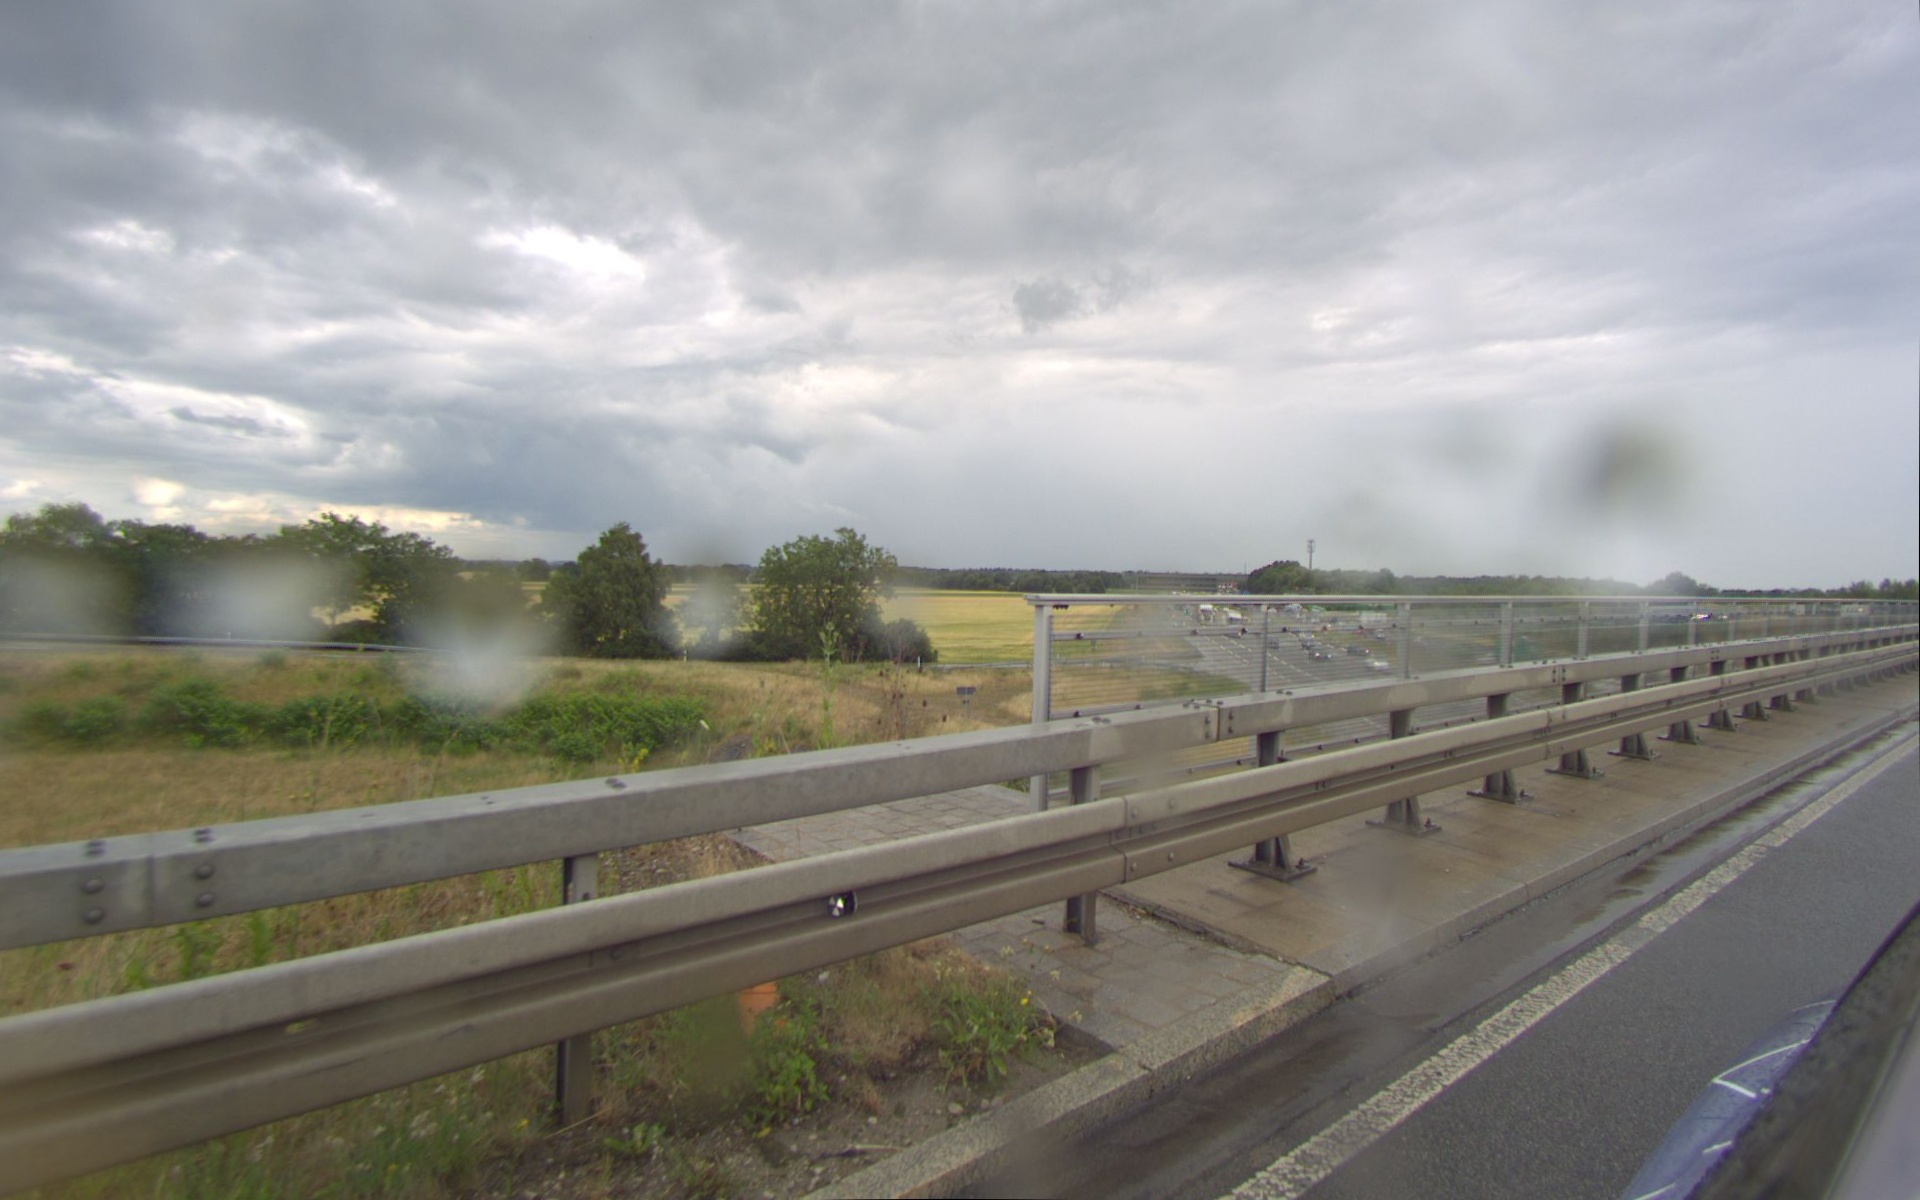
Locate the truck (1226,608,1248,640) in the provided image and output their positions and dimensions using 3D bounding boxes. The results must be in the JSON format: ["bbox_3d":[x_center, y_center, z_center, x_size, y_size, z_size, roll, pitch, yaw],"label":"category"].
[{"bbox_3d":[46.244,3.900,169.177,2.751,4.961,12.709,0,0,12],"label":"truck"}]

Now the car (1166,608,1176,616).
[{"bbox_3d":[44.898,2.596,215.095,1.826,1.690,4.712,0,0,9],"label":"car"}]

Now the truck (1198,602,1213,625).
[{"bbox_3d":[52.273,2.750,215.679,2.751,4.676,12.709,0,0,12],"label":"truck"}]

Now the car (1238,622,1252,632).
[{"bbox_3d":[50.996,4.767,180.927,1.826,1.690,4.712,0,0,9],"label":"car"}]

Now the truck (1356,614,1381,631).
[{"bbox_3d":[76.728,4.168,190.269,2.176,3.003,9.284,0,0,9],"label":"truck"}]

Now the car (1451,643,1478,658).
[{"bbox_3d":[66.042,6.566,132.512,1.826,1.690,4.712,0,0,9],"label":"car"}]

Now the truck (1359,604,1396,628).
[{"bbox_3d":[84.287,3.177,204.767,3.546,4.594,15.586,0,0,10],"label":"truck"}]

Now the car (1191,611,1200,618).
[{"bbox_3d":[56.032,3.430,241.114,1.826,1.690,4.712,0,0,9],"label":"car"}]

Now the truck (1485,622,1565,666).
[{"bbox_3d":[69.698,5.281,125.423,3.546,4.594,15.586,0,0,10],"label":"truck"}]

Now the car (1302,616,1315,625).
[{"bbox_3d":[73.015,4.316,212.161,1.826,1.690,4.712,0,0,9],"label":"car"}]

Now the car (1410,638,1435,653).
[{"bbox_3d":[63.070,6.209,138.139,1.826,1.690,4.712,0,0,9],"label":"car"}]

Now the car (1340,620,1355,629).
[{"bbox_3d":[76.106,4.780,198.991,1.826,1.690,4.712,0,0,9],"label":"car"}]

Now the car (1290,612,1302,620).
[{"bbox_3d":[77.295,3.622,232.776,1.826,1.690,4.712,0,0,9],"label":"car"}]

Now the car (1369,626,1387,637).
[{"bbox_3d":[70.526,5.353,170.784,1.826,1.690,4.712,0,0,9],"label":"car"}]

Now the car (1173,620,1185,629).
[{"bbox_3d":[40.272,4.432,186.015,1.784,1.454,4.714,0,0,8],"label":"car"}]

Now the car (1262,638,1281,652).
[{"bbox_3d":[42.489,6.104,138.223,1.826,1.690,4.712,0,0,9],"label":"car"}]

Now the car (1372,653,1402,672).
[{"bbox_3d":[45.478,6.638,107.766,1.826,1.690,4.712,0,0,9],"label":"car"}]

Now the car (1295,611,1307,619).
[{"bbox_3d":[82.064,3.580,243.601,1.826,1.797,4.712,0,0,9],"label":"car"}]

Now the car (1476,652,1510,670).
[{"bbox_3d":[59.889,6.855,113.834,1.825,1.690,4.715,0,0,7],"label":"car"}]

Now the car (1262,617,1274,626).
[{"bbox_3d":[64.305,4.462,211.481,1.826,1.690,4.712,0,0,9],"label":"car"}]

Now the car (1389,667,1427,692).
[{"bbox_3d":[38.321,6.780,86.726,1.826,1.690,4.712,0,0,9],"label":"car"}]

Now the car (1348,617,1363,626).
[{"bbox_3d":[81.535,4.466,208.713,1.826,1.690,4.712,0,0,9],"label":"car"}]

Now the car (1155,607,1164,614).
[{"bbox_3d":[46.879,2.497,237.721,1.826,1.690,4.712,0,0,9],"label":"car"}]

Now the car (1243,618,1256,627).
[{"bbox_3d":[58.067,4.570,203.033,1.826,1.690,4.712,0,0,9],"label":"car"}]

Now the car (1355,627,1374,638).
[{"bbox_3d":[67.910,5.447,169.977,1.826,1.690,4.712,0,0,9],"label":"car"}]

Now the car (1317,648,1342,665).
[{"bbox_3d":[43.662,6.702,119.612,1.826,1.690,4.712,0,0,9],"label":"car"}]

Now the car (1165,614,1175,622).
[{"bbox_3d":[46.327,4.025,223.543,1.826,1.690,4.712,0,0,9],"label":"car"}]

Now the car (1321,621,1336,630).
[{"bbox_3d":[69.872,4.811,192.105,1.826,1.690,4.712,0,0,9],"label":"car"}]

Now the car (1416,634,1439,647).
[{"bbox_3d":[69.516,5.995,150.434,1.826,1.690,4.712,0,0,9],"label":"car"}]

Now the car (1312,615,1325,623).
[{"bbox_3d":[79.036,4.264,223.397,1.826,1.690,4.712,0,0,9],"label":"car"}]

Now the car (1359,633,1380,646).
[{"bbox_3d":[61.351,5.950,151.648,1.826,1.690,4.712,0,0,9],"label":"car"}]
